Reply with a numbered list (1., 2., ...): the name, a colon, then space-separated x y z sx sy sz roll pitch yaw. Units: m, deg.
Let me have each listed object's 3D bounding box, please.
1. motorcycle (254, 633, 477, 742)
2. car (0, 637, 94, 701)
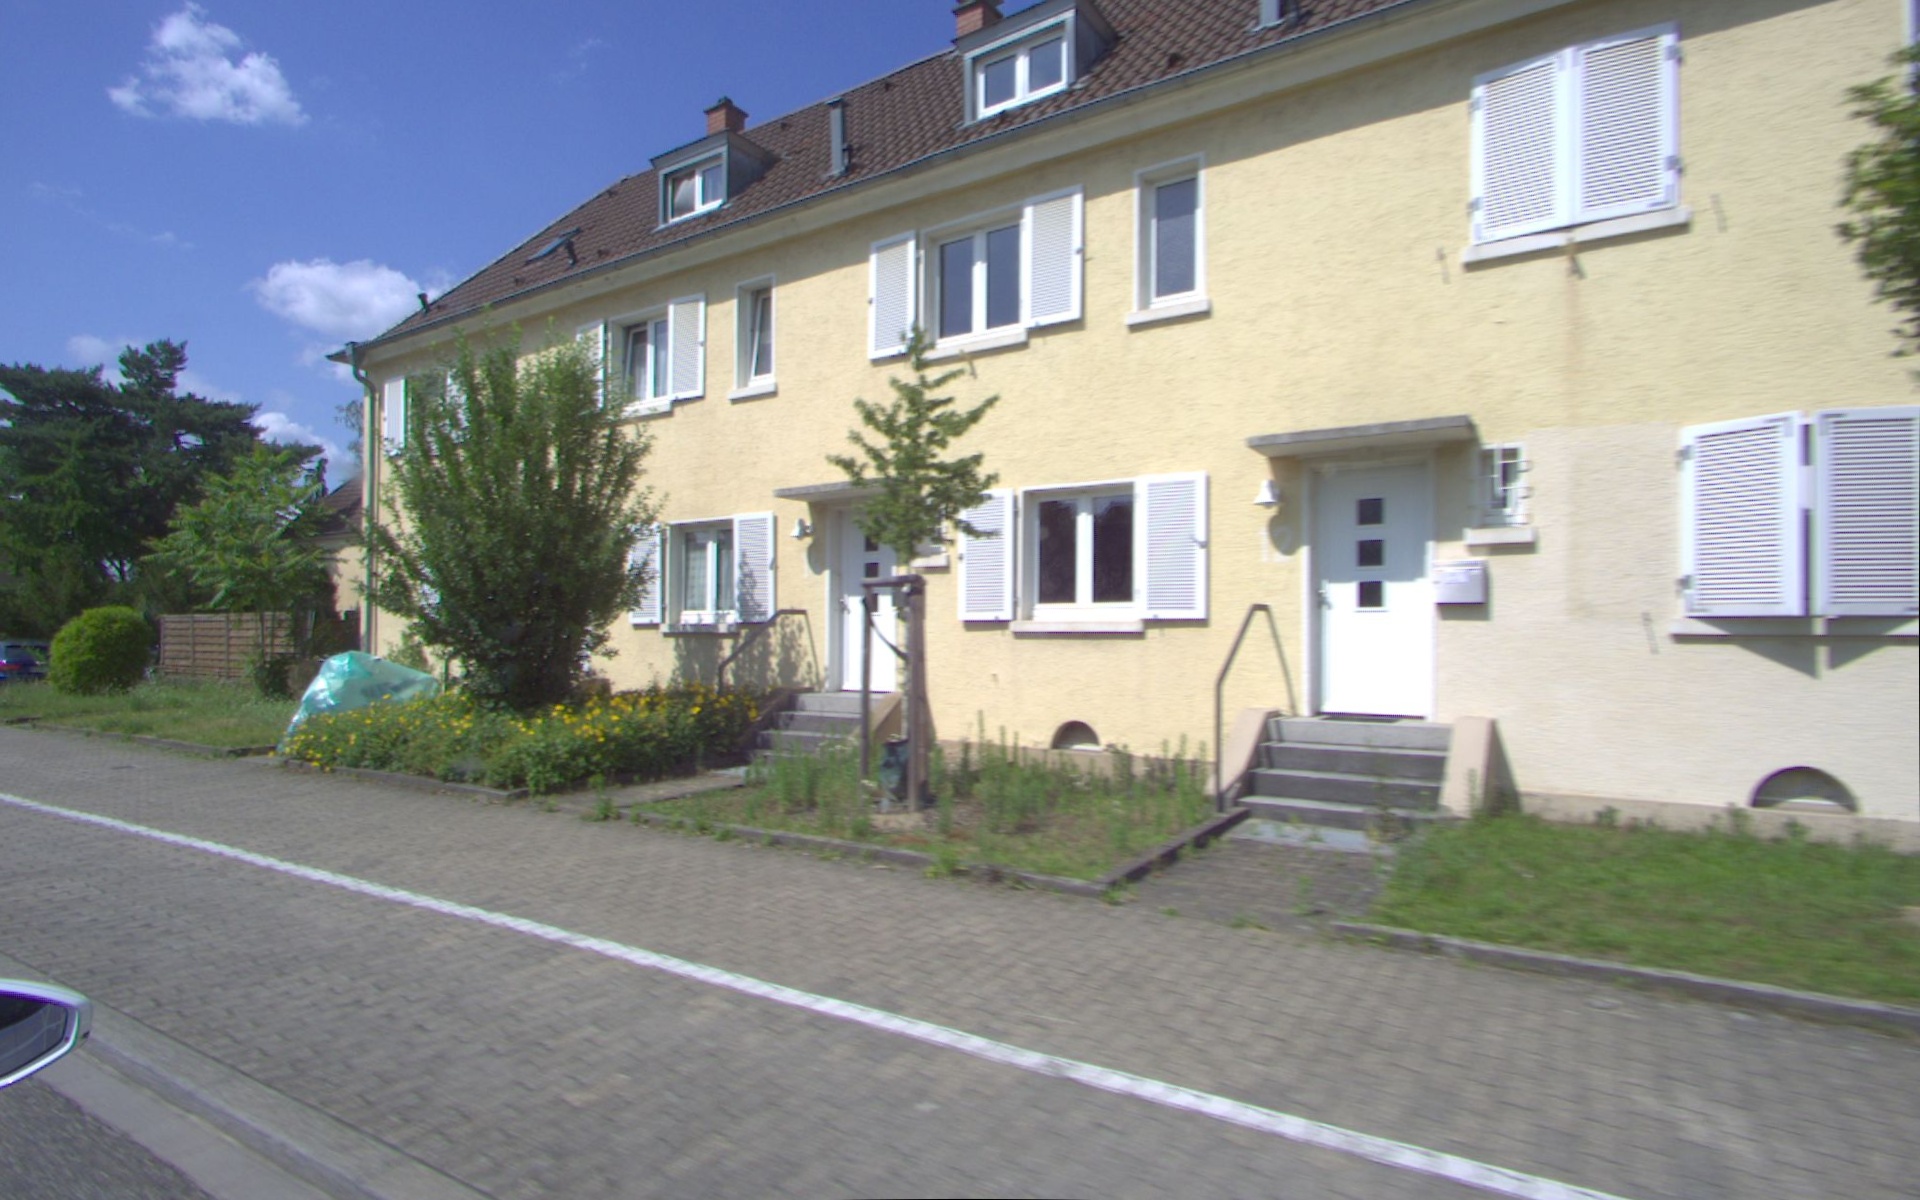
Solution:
1. motorcycle: -7.290 1.028 12.402 0.842 1.212 2.223 -1 -2 34
2. car: -23.884 1.705 25.510 4.227 1.398 1.637 1 -2 33
